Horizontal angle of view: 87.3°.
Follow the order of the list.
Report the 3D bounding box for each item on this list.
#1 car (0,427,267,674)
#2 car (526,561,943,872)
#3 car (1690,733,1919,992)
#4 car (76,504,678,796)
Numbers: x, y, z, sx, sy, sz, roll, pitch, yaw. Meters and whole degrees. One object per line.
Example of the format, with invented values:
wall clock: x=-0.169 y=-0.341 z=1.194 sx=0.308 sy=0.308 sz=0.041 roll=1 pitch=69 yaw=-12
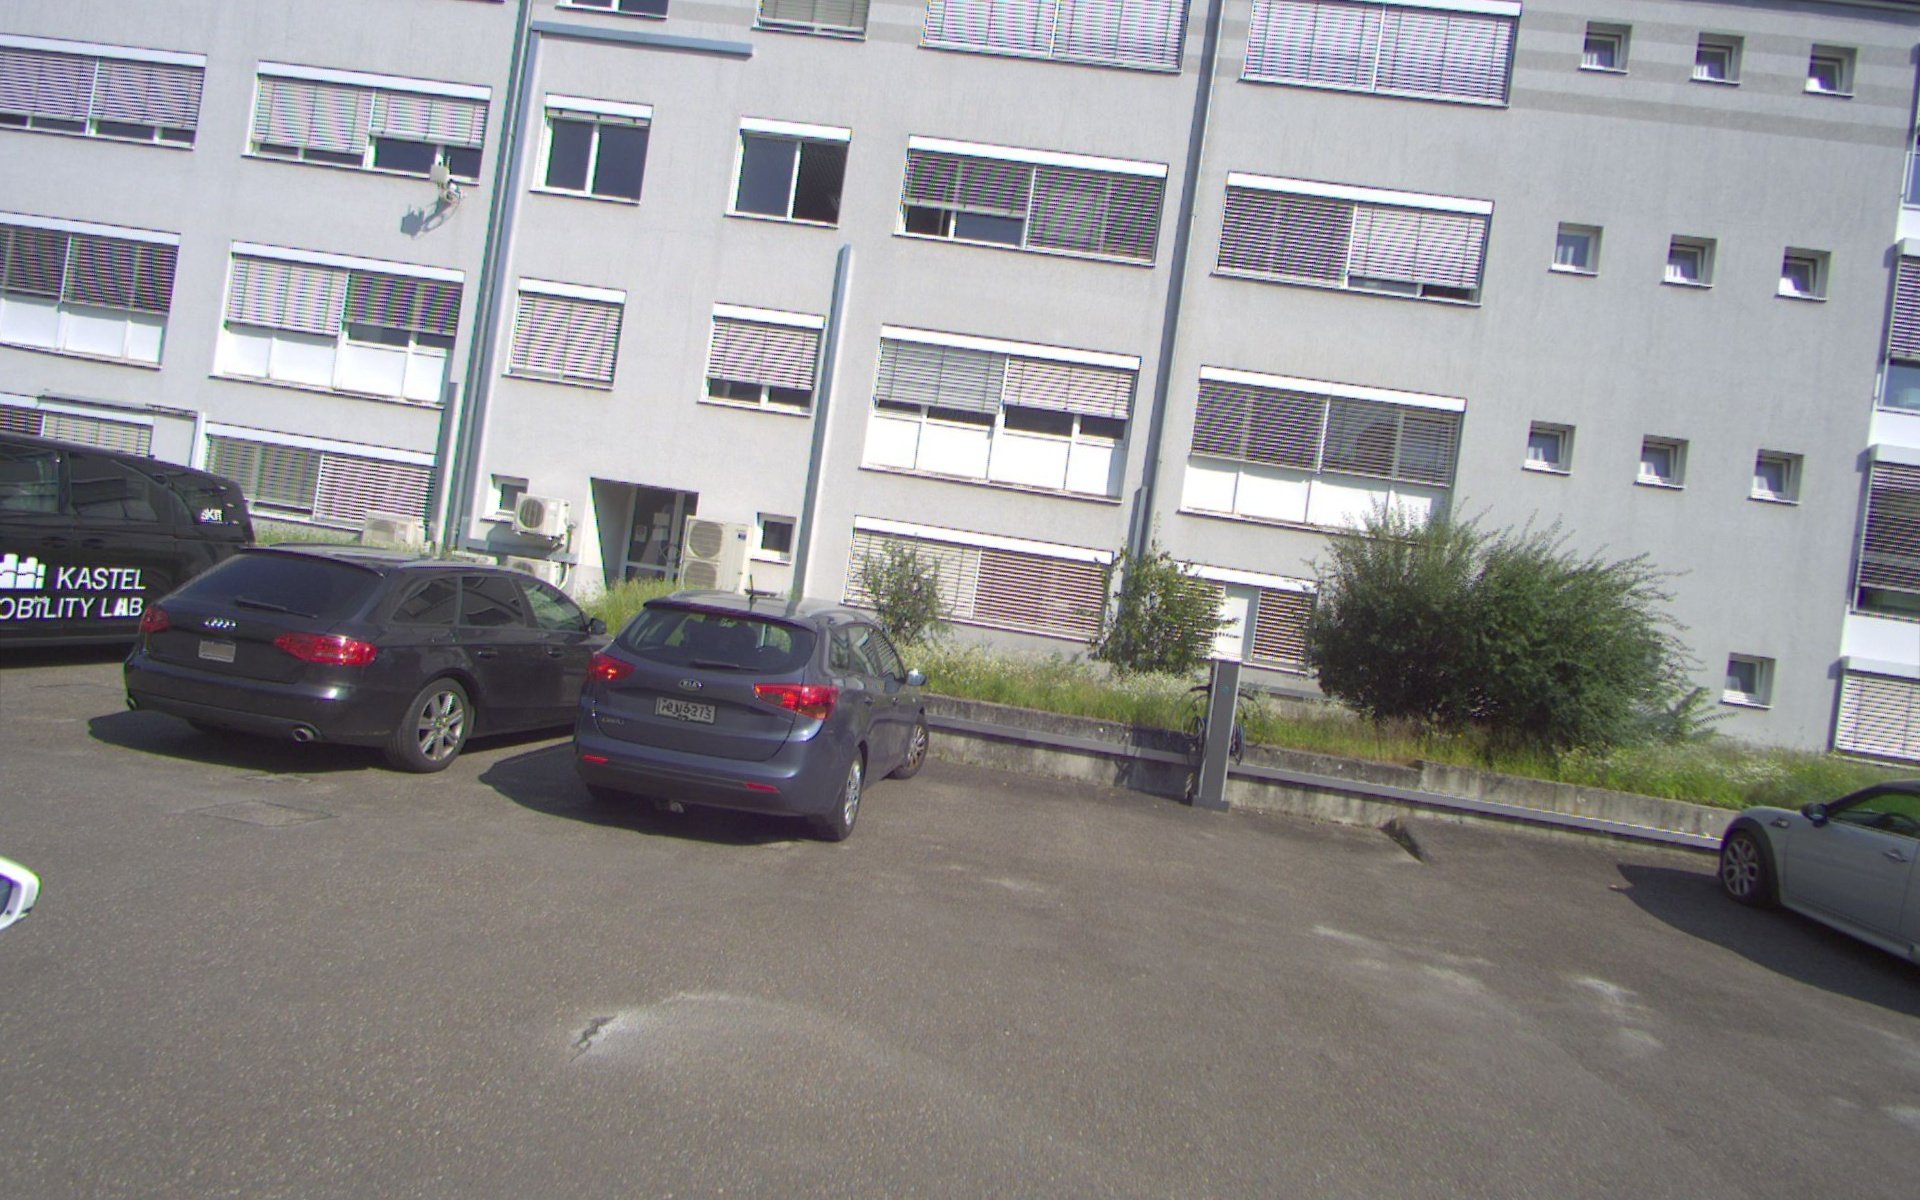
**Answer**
car: x=-8.214 y=-0.492 z=8.150 sx=1.879 sy=1.880 sz=4.350 roll=9 pitch=-1 yaw=2
car: x=-1.332 y=0.715 z=7.710 sx=1.709 sy=1.495 sz=4.063 roll=9 pitch=-1 yaw=6
car: x=7.203 y=1.967 z=7.140 sx=1.627 sy=1.454 sz=3.585 roll=9 pitch=-1 yaw=8
car: x=-4.025 y=0.363 z=7.957 sx=1.658 sy=1.454 sz=4.250 roll=9 pitch=-1 yaw=9
